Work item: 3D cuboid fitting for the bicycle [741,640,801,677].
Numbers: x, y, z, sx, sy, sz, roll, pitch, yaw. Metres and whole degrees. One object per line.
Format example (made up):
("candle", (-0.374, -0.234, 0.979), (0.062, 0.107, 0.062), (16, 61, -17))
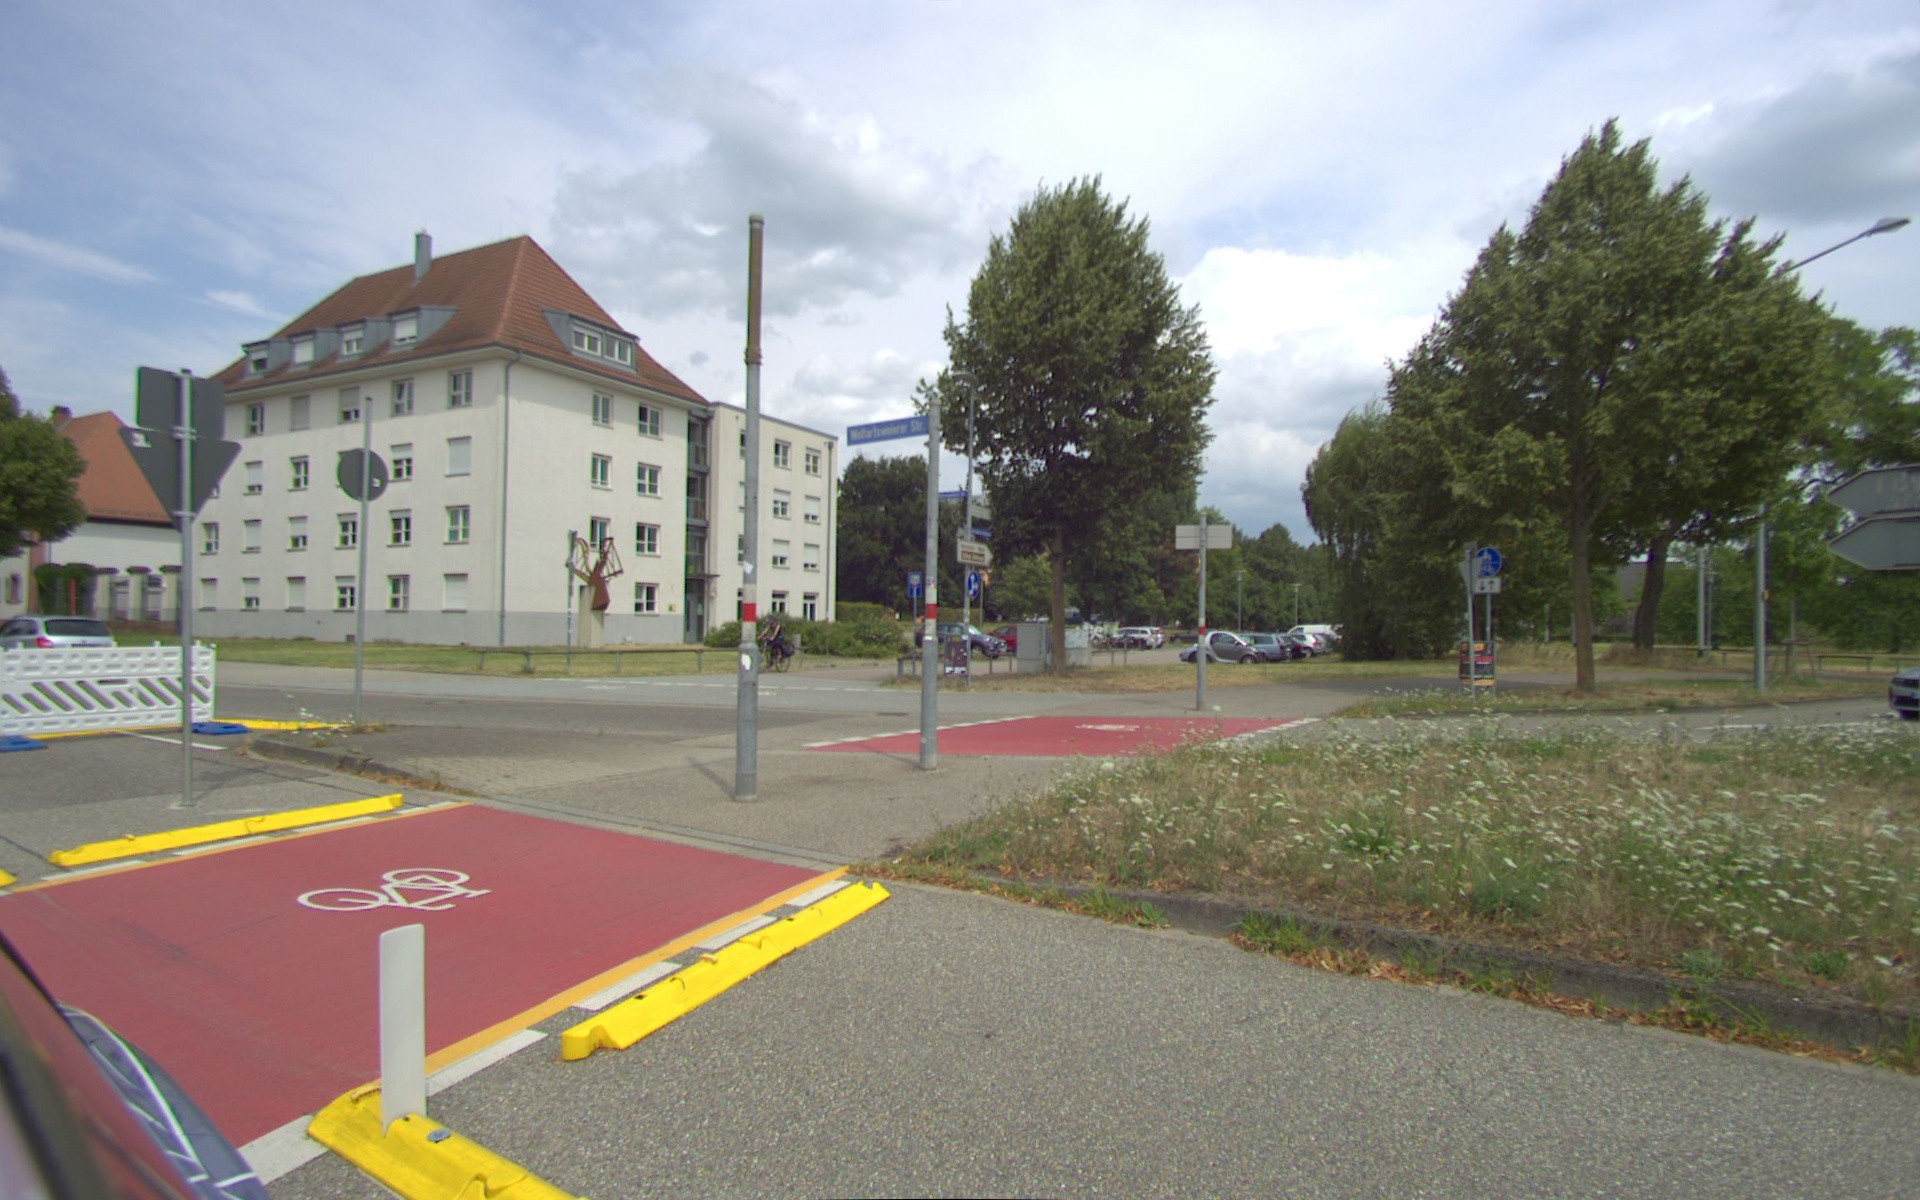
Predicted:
("bicycle", (-5.506, 1.690, 29.557), (0.600, 1.054, 1.807), (-1, -2, 34))

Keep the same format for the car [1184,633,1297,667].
("car", (13.195, 2.308, 47.608), (4.866, 1.482, 1.815), (0, -1, 28))

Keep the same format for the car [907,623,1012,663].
("car", (-0.020, 1.959, 46.994), (4.478, 1.778, 1.982), (0, -1, 27))

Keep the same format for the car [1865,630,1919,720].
("car", (18.422, 1.276, 17.288), (5.095, 1.493, 2.006), (1, -1, -16))

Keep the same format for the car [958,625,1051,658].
("car", (2.280, 2.089, 51.939), (4.388, 1.610, 1.980), (0, -1, 29))

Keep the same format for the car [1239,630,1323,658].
("car", (18.514, 2.505, 58.387), (4.367, 1.482, 1.815), (0, -1, 28))

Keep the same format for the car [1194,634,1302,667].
("car", (14.162, 2.430, 49.786), (4.866, 1.482, 1.815), (0, -1, 28))

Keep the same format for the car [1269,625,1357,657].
("car", (24.317, 2.809, 69.763), (5.540, 2.071, 2.182), (0, -1, 26))

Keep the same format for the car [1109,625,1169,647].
("car", (13.134, 2.637, 74.300), (3.987, 1.586, 1.801), (-1, -2, 27))

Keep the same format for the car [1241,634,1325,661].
("car", (19.410, 2.842, 60.788), (4.583, 1.482, 1.815), (0, -1, 28))

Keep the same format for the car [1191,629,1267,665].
("car", (11.341, 1.980, 42.651), (2.896, 1.434, 1.473), (-2, -3, 22))

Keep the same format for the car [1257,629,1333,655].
("car", (20.844, 2.597, 62.992), (4.292, 1.482, 1.815), (0, -1, 28))

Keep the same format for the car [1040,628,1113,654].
("car", (6.988, 2.440, 60.713), (3.987, 1.479, 1.801), (0, -2, 27))

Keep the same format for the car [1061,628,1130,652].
("car", (8.621, 2.519, 64.199), (3.987, 1.479, 1.801), (0, -1, 27))

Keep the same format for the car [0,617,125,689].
("car", (-21.095, 1.158, 23.228), (4.201, 1.530, 1.612), (-1, -2, 30))

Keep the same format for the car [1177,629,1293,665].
("car", (12.225, 2.087, 45.025), (4.680, 1.482, 1.817), (-3, -2, 25))

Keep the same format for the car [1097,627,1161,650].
("car", (11.645, 2.651, 69.821), (3.987, 1.479, 1.801), (0, -1, 27))

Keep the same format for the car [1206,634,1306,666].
("car", (15.129, 2.541, 51.829), (4.688, 1.482, 1.815), (0, -1, 28))

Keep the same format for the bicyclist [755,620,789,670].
("bicyclist", (-5.496, 1.302, 29.593), (0.600, 1.434, 0.794), (-1, -2, 35))
